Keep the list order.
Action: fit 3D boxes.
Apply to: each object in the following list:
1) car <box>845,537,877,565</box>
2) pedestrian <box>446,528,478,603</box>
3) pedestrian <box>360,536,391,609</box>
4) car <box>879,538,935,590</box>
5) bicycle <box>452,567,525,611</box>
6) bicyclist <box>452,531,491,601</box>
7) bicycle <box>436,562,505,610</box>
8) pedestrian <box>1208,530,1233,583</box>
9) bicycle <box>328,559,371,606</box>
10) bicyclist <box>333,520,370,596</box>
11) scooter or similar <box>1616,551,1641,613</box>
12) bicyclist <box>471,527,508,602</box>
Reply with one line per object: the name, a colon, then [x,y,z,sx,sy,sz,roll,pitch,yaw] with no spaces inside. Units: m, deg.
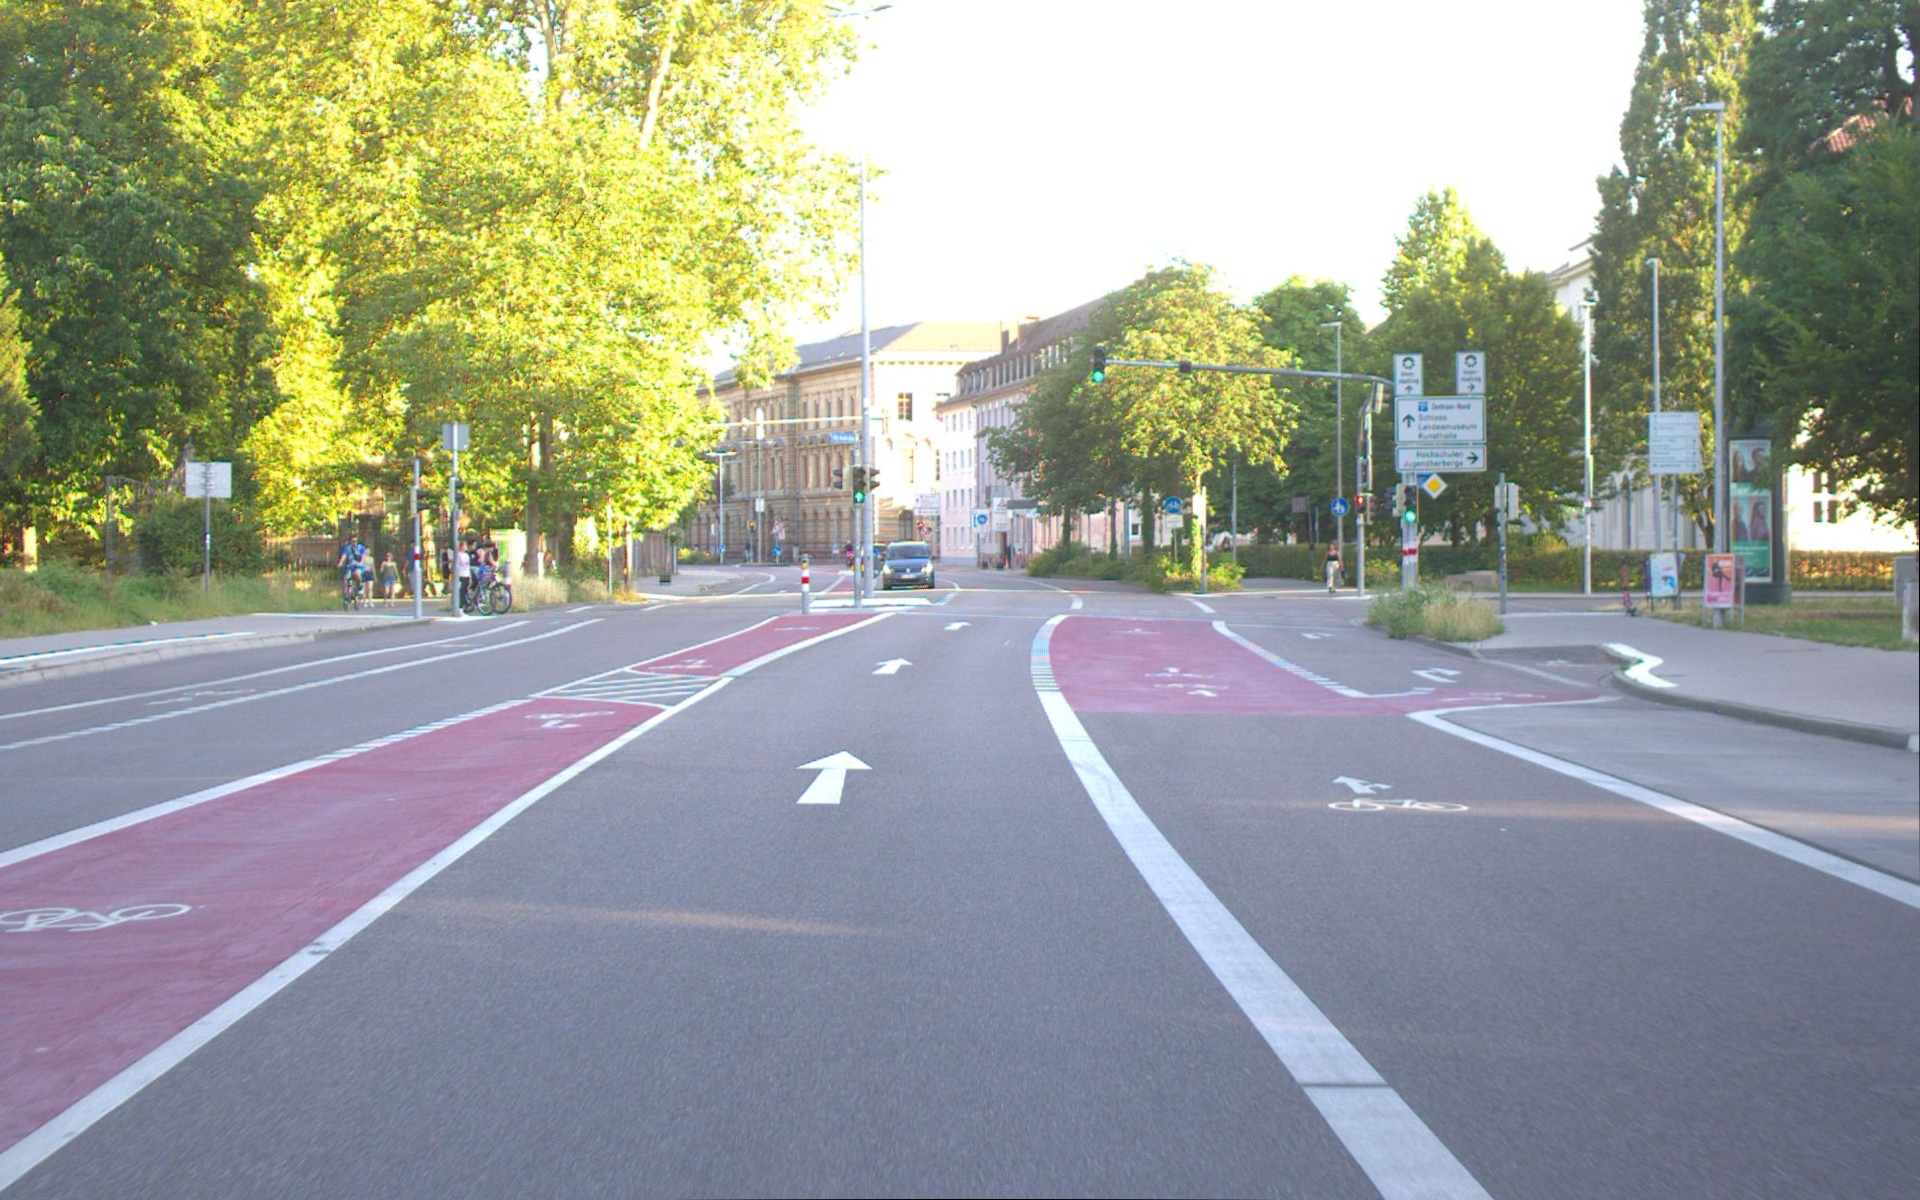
car: [-5.936,-2.939,205.727,1.819,1.583,4.000,-1,1,-1]
pedestrian: [-11.283,-0.778,77.928,0.607,1.690,0.498,0,1,4]
pedestrian: [-16.197,-0.754,95.262,0.649,2.007,0.606,0,1,-36]
car: [-1.813,-1.260,119.044,1.849,1.714,4.296,-2,1,0]
bicycle: [-11.221,-0.261,81.836,1.769,1.026,0.578,0,1,34]
bicyclist: [-11.398,-0.795,80.195,0.638,1.644,0.629,0,1,33]
bicycle: [-11.428,-0.342,80.216,1.566,1.107,0.632,0,1,34]
pedestrian: [9.857,-1.645,130.167,0.870,2.007,0.722,1,1,2]
bicycle: [-14.699,-0.437,82.795,0.770,1.097,2.123,0,1,-4]
bicyclist: [-14.638,-1.003,82.729,0.735,1.818,0.712,-1,0,2]
scooter or similar: [13.463,-0.365,69.233,0.311,1.227,1.311,0,1,2]
bicyclist: [-11.198,-0.845,81.808,0.638,1.774,0.575,0,1,33]
